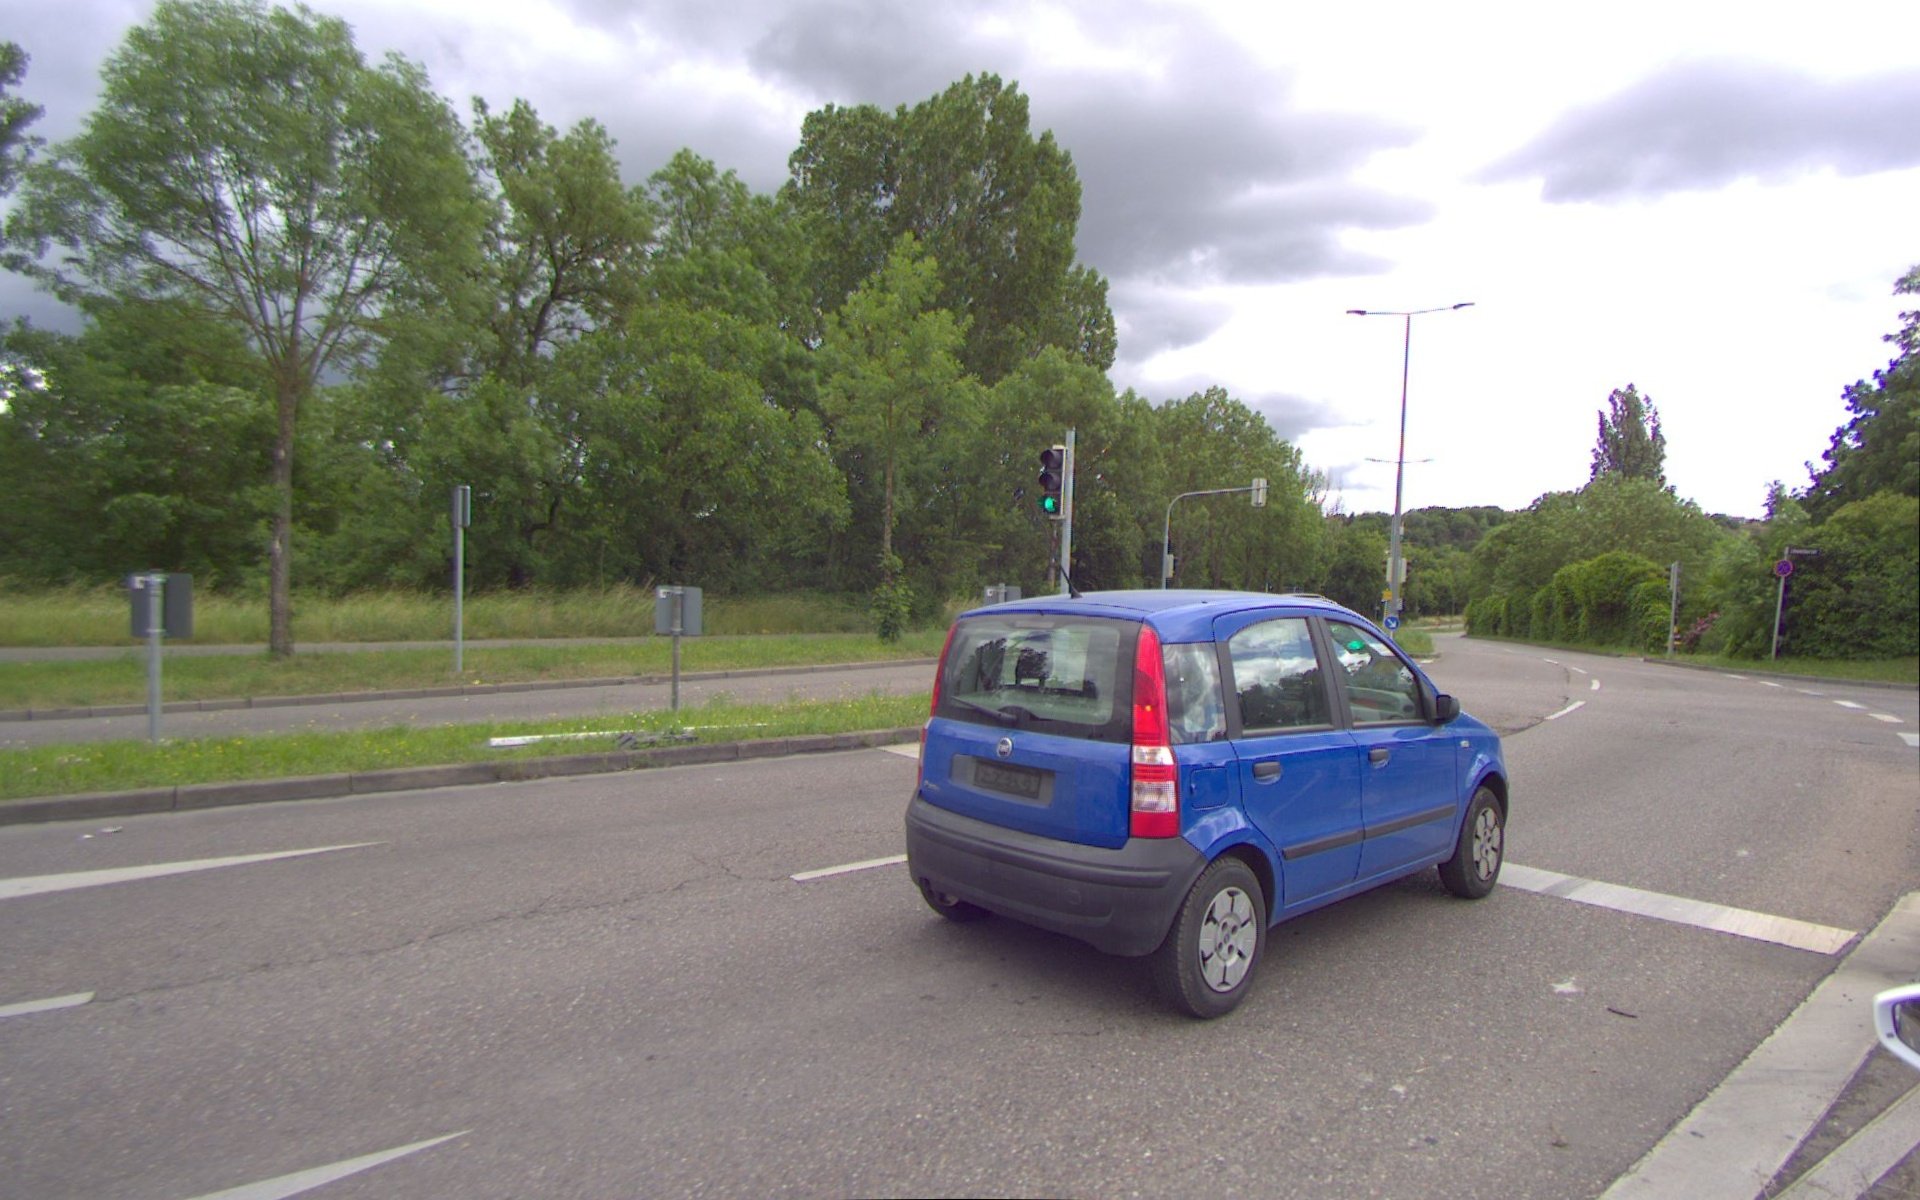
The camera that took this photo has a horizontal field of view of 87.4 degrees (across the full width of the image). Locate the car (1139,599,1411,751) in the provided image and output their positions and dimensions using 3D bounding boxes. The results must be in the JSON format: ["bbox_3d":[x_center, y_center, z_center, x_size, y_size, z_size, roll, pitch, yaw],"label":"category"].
[{"bbox_3d":[3.905,0.771,12.132,1.639,1.527,3.747,1,0,44],"label":"car"}]

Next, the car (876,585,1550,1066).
[{"bbox_3d":[1.401,0.727,4.881,3.353,1.527,1.529,1,1,-41],"label":"car"}]

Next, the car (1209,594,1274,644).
[{"bbox_3d":[12.264,0.763,43.580,2.043,1.784,4.319,4,4,23],"label":"car"}]

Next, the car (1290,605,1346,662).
[{"bbox_3d":[15.744,1.403,44.033,1.898,2.021,4.319,4,4,23],"label":"car"}]
